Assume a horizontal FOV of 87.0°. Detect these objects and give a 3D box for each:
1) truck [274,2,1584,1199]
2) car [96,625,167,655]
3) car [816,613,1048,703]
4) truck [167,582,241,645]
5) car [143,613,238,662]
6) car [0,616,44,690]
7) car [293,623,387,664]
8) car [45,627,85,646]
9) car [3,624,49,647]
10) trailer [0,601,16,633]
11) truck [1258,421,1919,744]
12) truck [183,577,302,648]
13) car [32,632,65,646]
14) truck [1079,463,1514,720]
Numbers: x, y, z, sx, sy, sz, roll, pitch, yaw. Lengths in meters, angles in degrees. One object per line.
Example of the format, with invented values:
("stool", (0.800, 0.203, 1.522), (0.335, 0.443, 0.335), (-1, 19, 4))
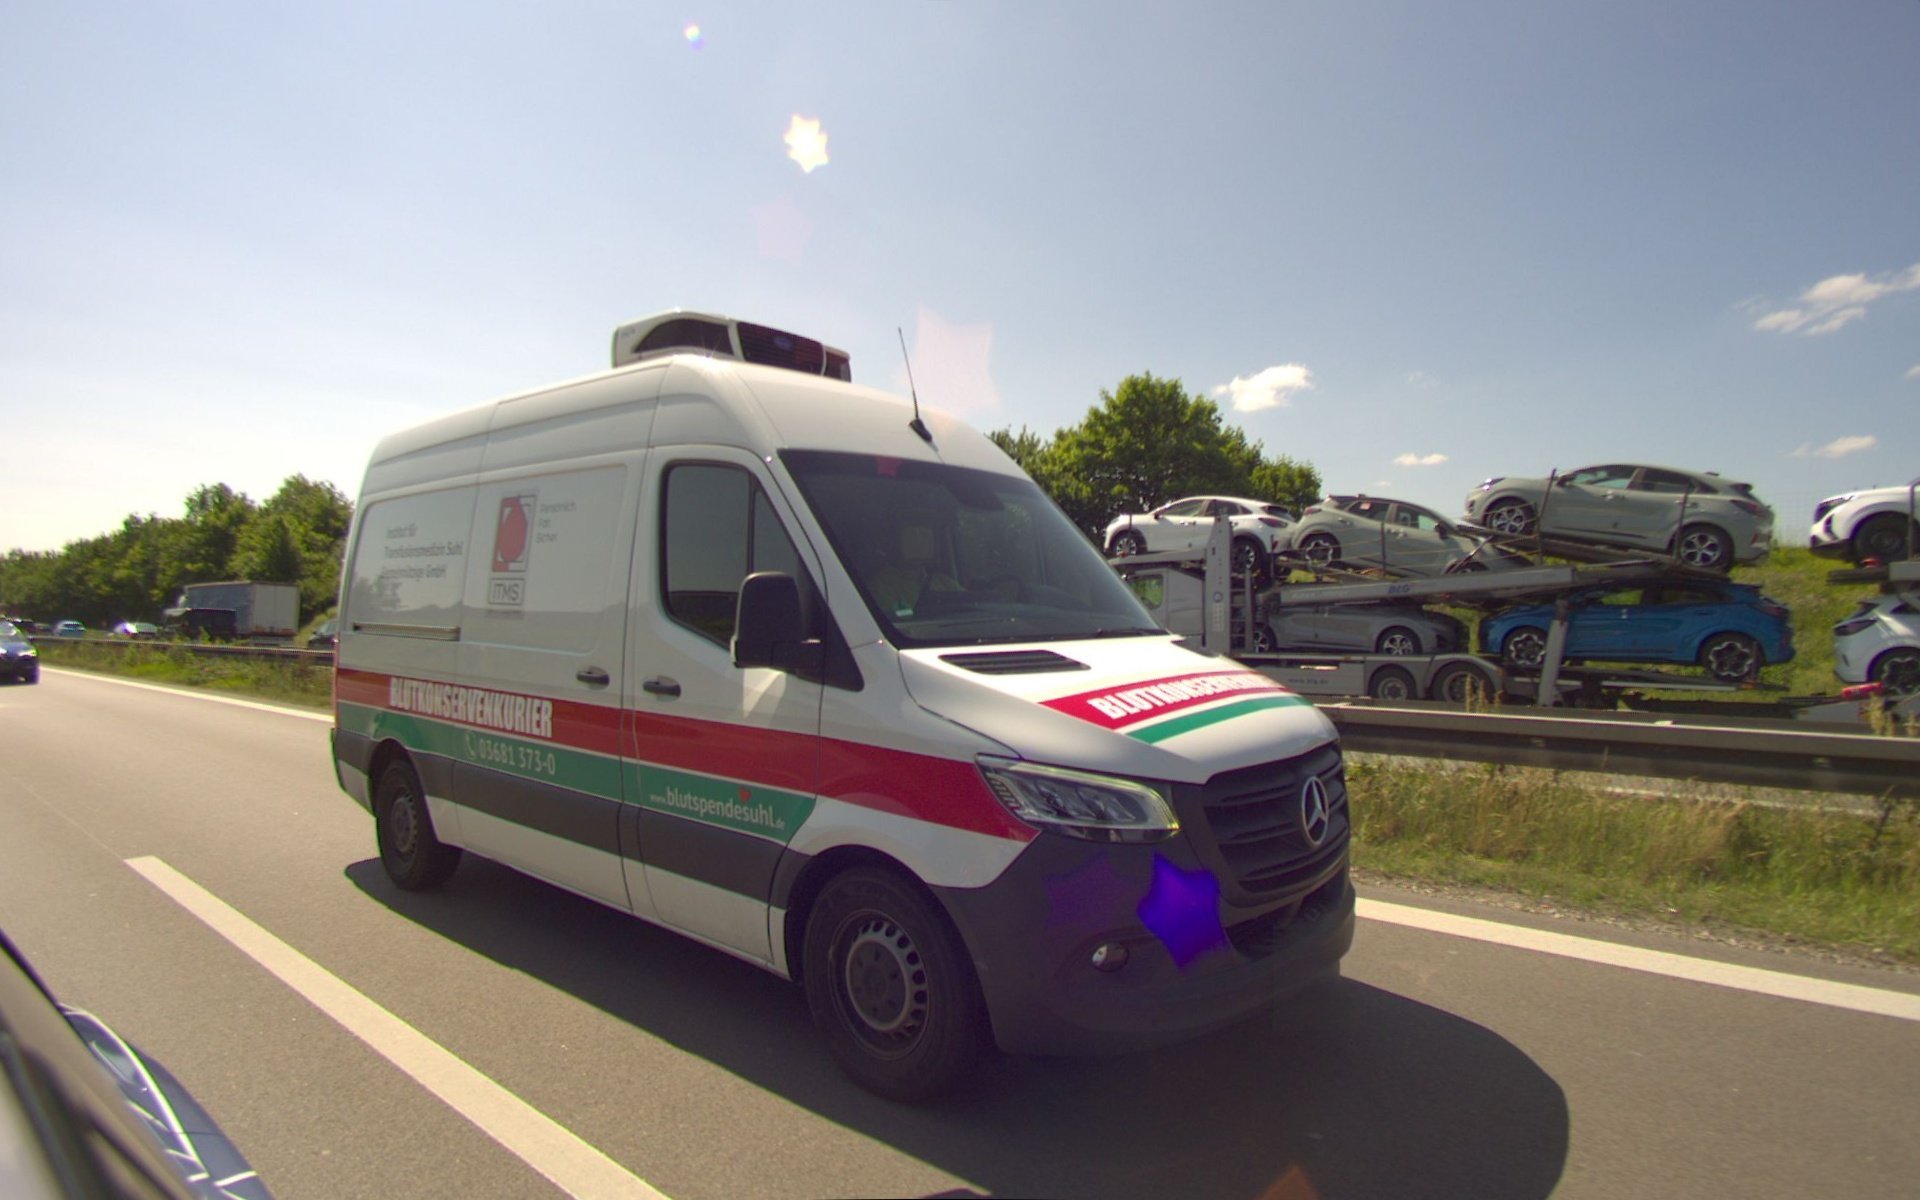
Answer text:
("truck", (-1.065, 0.176, 4.875), (6.687, 2.561, 1.973), (-1, 0, 40))
("car", (-40.947, 1.941, 49.996), (5.015, 1.450, 1.855), (-1, -2, 41))
("car", (-0.654, 1.111, 20.529), (4.578, 1.626, 1.973), (-1, -2, 41))
("truck", (-52.221, 1.008, 69.850), (6.071, 4.110, 2.645), (-1, -4, 40))
("car", (-32.829, 1.574, 43.110), (5.685, 1.960, 2.068), (-1, -2, 41))
("car", (-23.261, 1.233, 23.988), (4.239, 1.638, 1.880), (-2, -1, 42))
("car", (-26.040, 1.786, 42.433), (4.892, 1.653, 1.944), (-1, -2, 41))
("car", (-71.645, 2.919, 80.994), (4.346, 1.521, 1.777), (-1, -2, 39))
("car", (-68.821, 2.591, 74.560), (4.716, 1.612, 1.840), (-1, -2, 39))
("trailer", (-117.666, 2.118, 123.342), (8.399, 3.798, 2.652), (-1, -3, 40))
("truck", (12.825, -0.179, 14.267), (16.658, 4.081, 3.179), (-1, -3, 40))
("truck", (-45.970, 0.904, 64.540), (13.948, 4.110, 2.645), (-1, -4, 40))
("car", (-98.208, 4.208, 108.978), (4.919, 1.449, 1.876), (-2, -5, 39))
("truck", (6.300, -0.028, 19.701), (7.388, 4.081, 3.208), (-1, -3, 40))
